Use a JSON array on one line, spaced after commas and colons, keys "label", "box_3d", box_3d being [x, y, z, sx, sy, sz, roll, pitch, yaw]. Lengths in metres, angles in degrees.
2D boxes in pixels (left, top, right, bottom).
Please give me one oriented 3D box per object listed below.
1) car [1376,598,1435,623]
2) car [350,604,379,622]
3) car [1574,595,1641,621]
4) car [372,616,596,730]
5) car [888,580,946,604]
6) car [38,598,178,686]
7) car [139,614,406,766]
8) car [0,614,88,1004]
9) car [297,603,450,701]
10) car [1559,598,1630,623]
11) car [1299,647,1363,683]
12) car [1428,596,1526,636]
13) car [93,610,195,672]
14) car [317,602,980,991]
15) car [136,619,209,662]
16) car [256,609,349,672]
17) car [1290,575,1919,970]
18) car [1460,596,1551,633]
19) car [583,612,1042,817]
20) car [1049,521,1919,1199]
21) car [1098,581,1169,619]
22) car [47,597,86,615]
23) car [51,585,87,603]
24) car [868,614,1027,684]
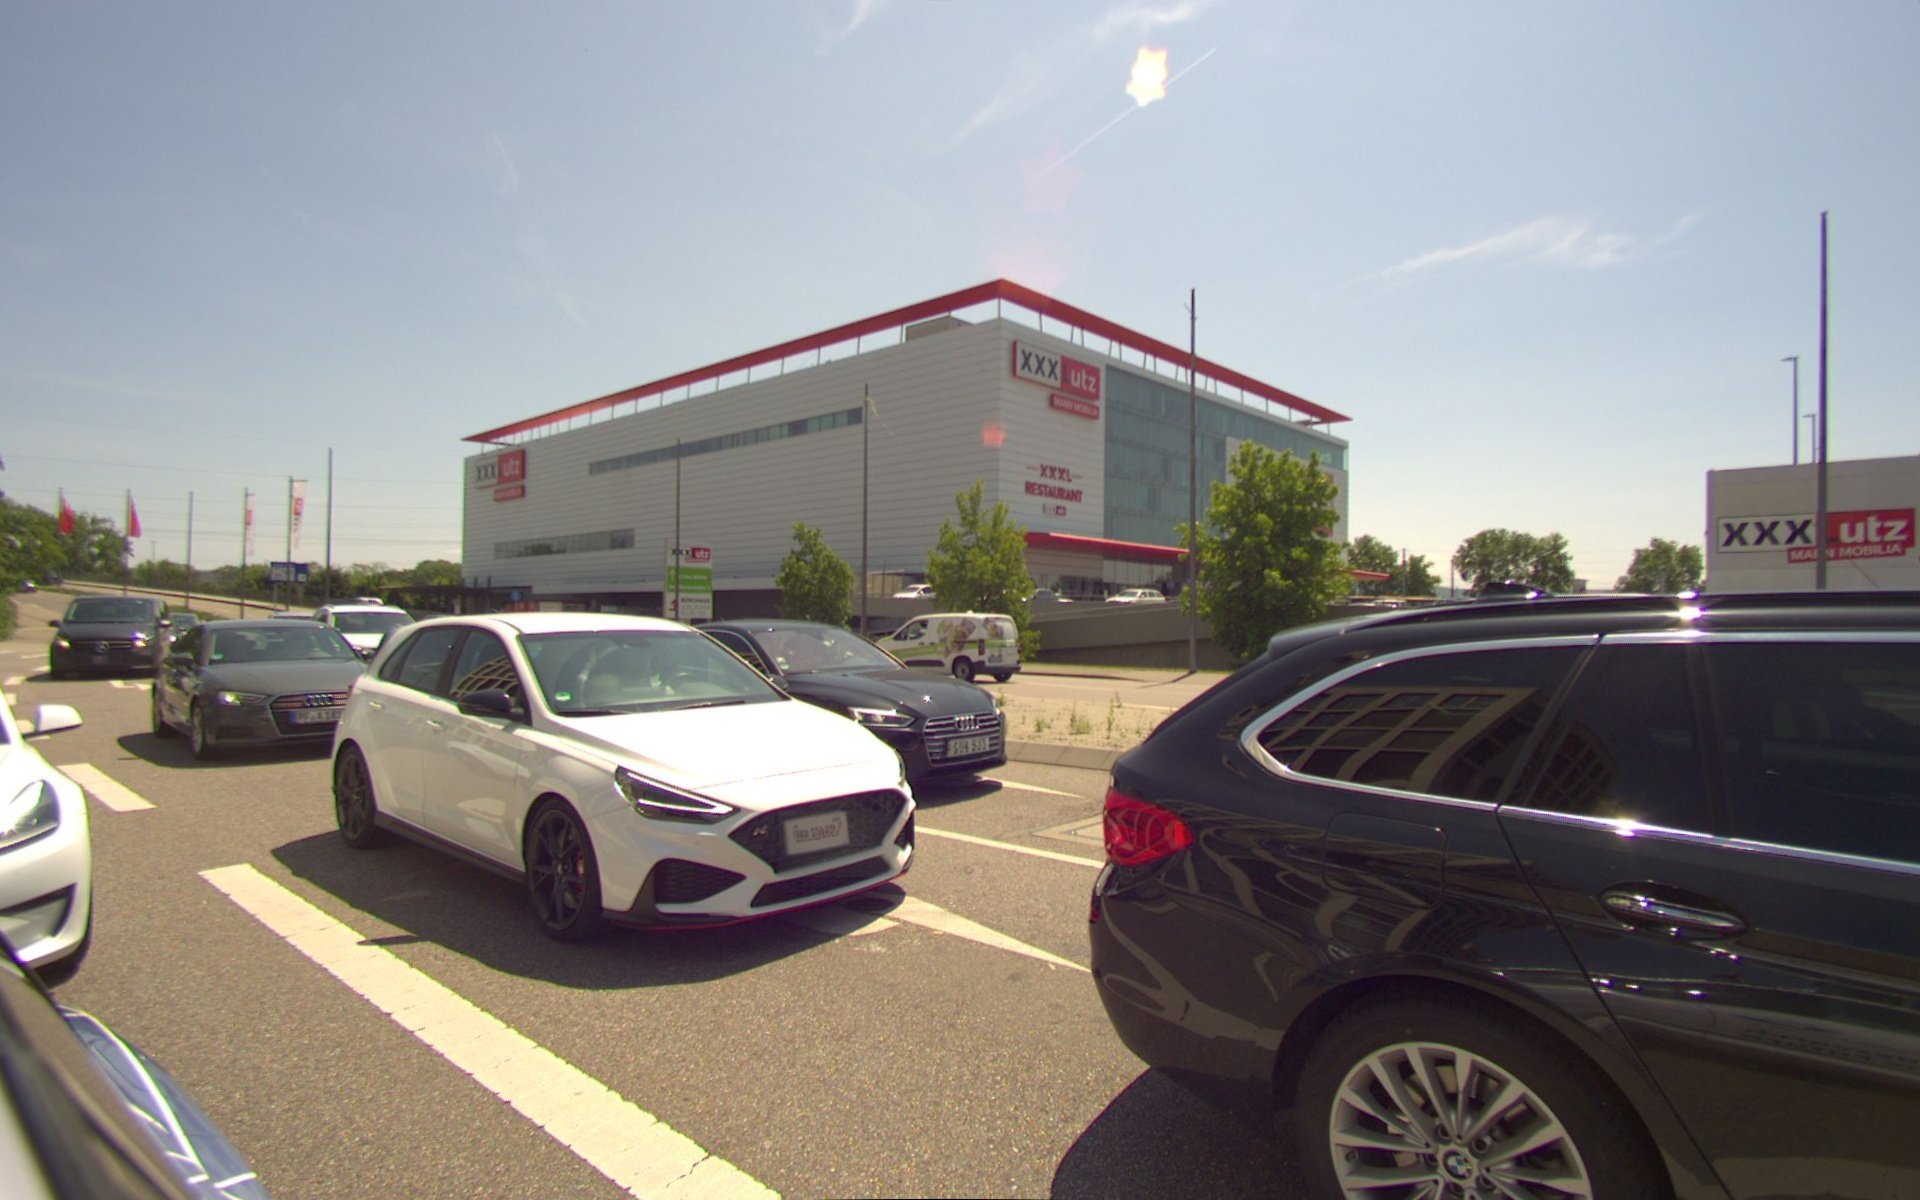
[{"label": "car", "box_3d": [36.279, 0.867, 82.456, 4.000, 1.915, 1.972, -1, -2, 43]}, {"label": "car", "box_3d": [-79.664, 1.759, 135.387, 4.815, 2.300, 2.162, -1, -2, 44]}, {"label": "car", "box_3d": [52.152, 0.679, 81.563, 4.328, 2.029, 1.972, 0, -2, 42]}, {"label": "car", "box_3d": [-7.209, 0.985, 15.076, 1.744, 1.413, 4.435, 0, -1, -43]}, {"label": "car", "box_3d": [-2.931, -0.528, 69.271, 1.717, 1.519, 3.944, -1, -2, 42]}, {"label": "car", "box_3d": [-19.675, 0.912, 23.586, 1.865, 1.835, 4.850, 1, -1, -33]}, {"label": "car", "box_3d": [-7.832, 0.877, 11.369, 1.745, 1.393, 4.092, 2, -2, -45]}, {"label": "car", "box_3d": [-5.618, 0.808, 4.699, 4.282, 1.447, 1.800, -1, 0, 41]}, {"label": "car", "box_3d": [-11.338, 0.910, 19.414, 1.743, 1.653, 4.498, 0, 0, -40]}, {"label": "car", "box_3d": [46.011, 0.744, 73.444, 4.134, 1.754, 1.759, 0, -2, 42]}, {"label": "car", "box_3d": [19.037, 3.289, 51.903, 1.997, 1.719, 3.949, -1, -2, 38]}, {"label": "car", "box_3d": [27.172, 0.860, 53.270, 4.323, 2.029, 1.974, 0, -2, 38]}, {"label": "car", "box_3d": [-23.480, 1.150, 29.251, 1.784, 1.652, 4.011, 1, -2, -32]}, {"label": "car", "box_3d": [-2.007, 0.760, 5.801, 4.068, 1.447, 1.769, -1, -1, 41]}, {"label": "car", "box_3d": [-28.226, 1.424, 36.378, 1.582, 1.451, 3.744, 1, -2, -30]}, {"label": "car", "box_3d": [-16.492, 0.971, 25.313, 1.742, 1.433, 3.908, -1, -1, -36]}, {"label": "car", "box_3d": [3.771, 0.629, 4.550, 4.009, 1.433, 1.674, -2, -1, 43]}, {"label": "car", "box_3d": [30.908, 0.838, 57.356, 4.323, 2.029, 1.975, 0, -2, 38]}, {"label": "car", "box_3d": [-1.541, 0.859, 9.181, 4.466, 1.415, 1.654, -2, -1, 42]}, {"label": "car", "box_3d": [2.524, 0.610, 1.744, 4.553, 1.451, 1.779, -1, -1, 40]}, {"label": "car", "box_3d": [9.901, 0.043, 57.465, 4.407, 2.029, 1.680, 2, -2, -44]}, {"label": "car", "box_3d": [-89.944, 0.612, 101.881, 3.983, 1.829, 1.661, 0, -2, 29]}, {"label": "car", "box_3d": [-106.970, -0.700, 121.452, 3.977, 2.029, 1.797, 0, -2, 25]}, {"label": "car", "box_3d": [-0.382, 1.293, 27.107, 4.038, 1.736, 1.843, -2, -3, 39]}]
